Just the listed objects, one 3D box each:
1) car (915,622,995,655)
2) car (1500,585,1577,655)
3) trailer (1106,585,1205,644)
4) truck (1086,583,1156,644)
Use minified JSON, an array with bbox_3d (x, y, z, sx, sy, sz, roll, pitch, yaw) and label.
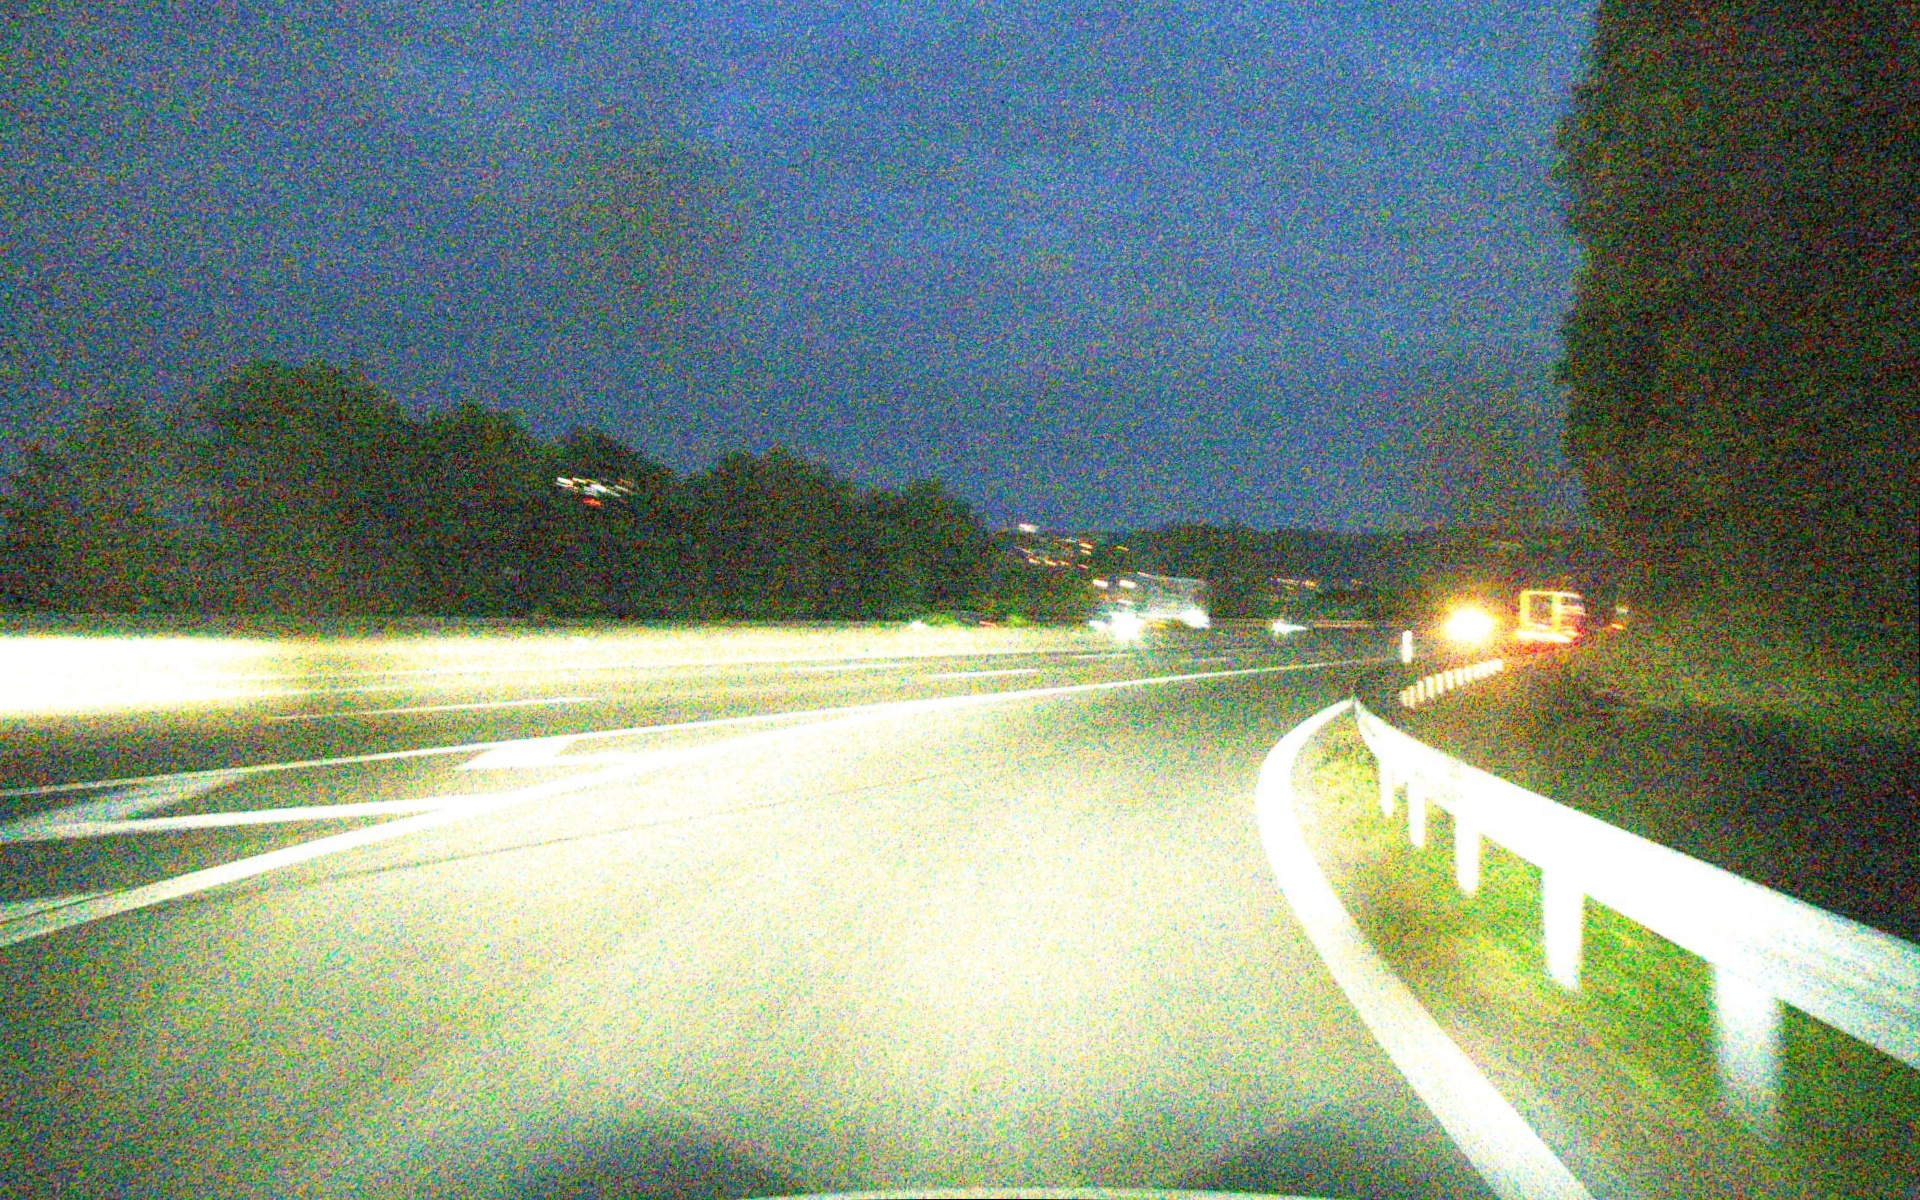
[{"bbox_3d":[-0.204,1.797,77.328,1.955,1.449,4.365,1,-1,26],"label":"car"},{"bbox_3d":[45.975,1.632,131.160,5.174,5.181,12.472,1,-1,22],"label":"car"},{"bbox_3d":[14.033,1.153,117.245,2.704,3.867,13.748,1,-1,25],"label":"trailer"},{"bbox_3d":[10.783,0.959,110.194,2.704,3.868,5.958,1,-1,25],"label":"truck"}]
